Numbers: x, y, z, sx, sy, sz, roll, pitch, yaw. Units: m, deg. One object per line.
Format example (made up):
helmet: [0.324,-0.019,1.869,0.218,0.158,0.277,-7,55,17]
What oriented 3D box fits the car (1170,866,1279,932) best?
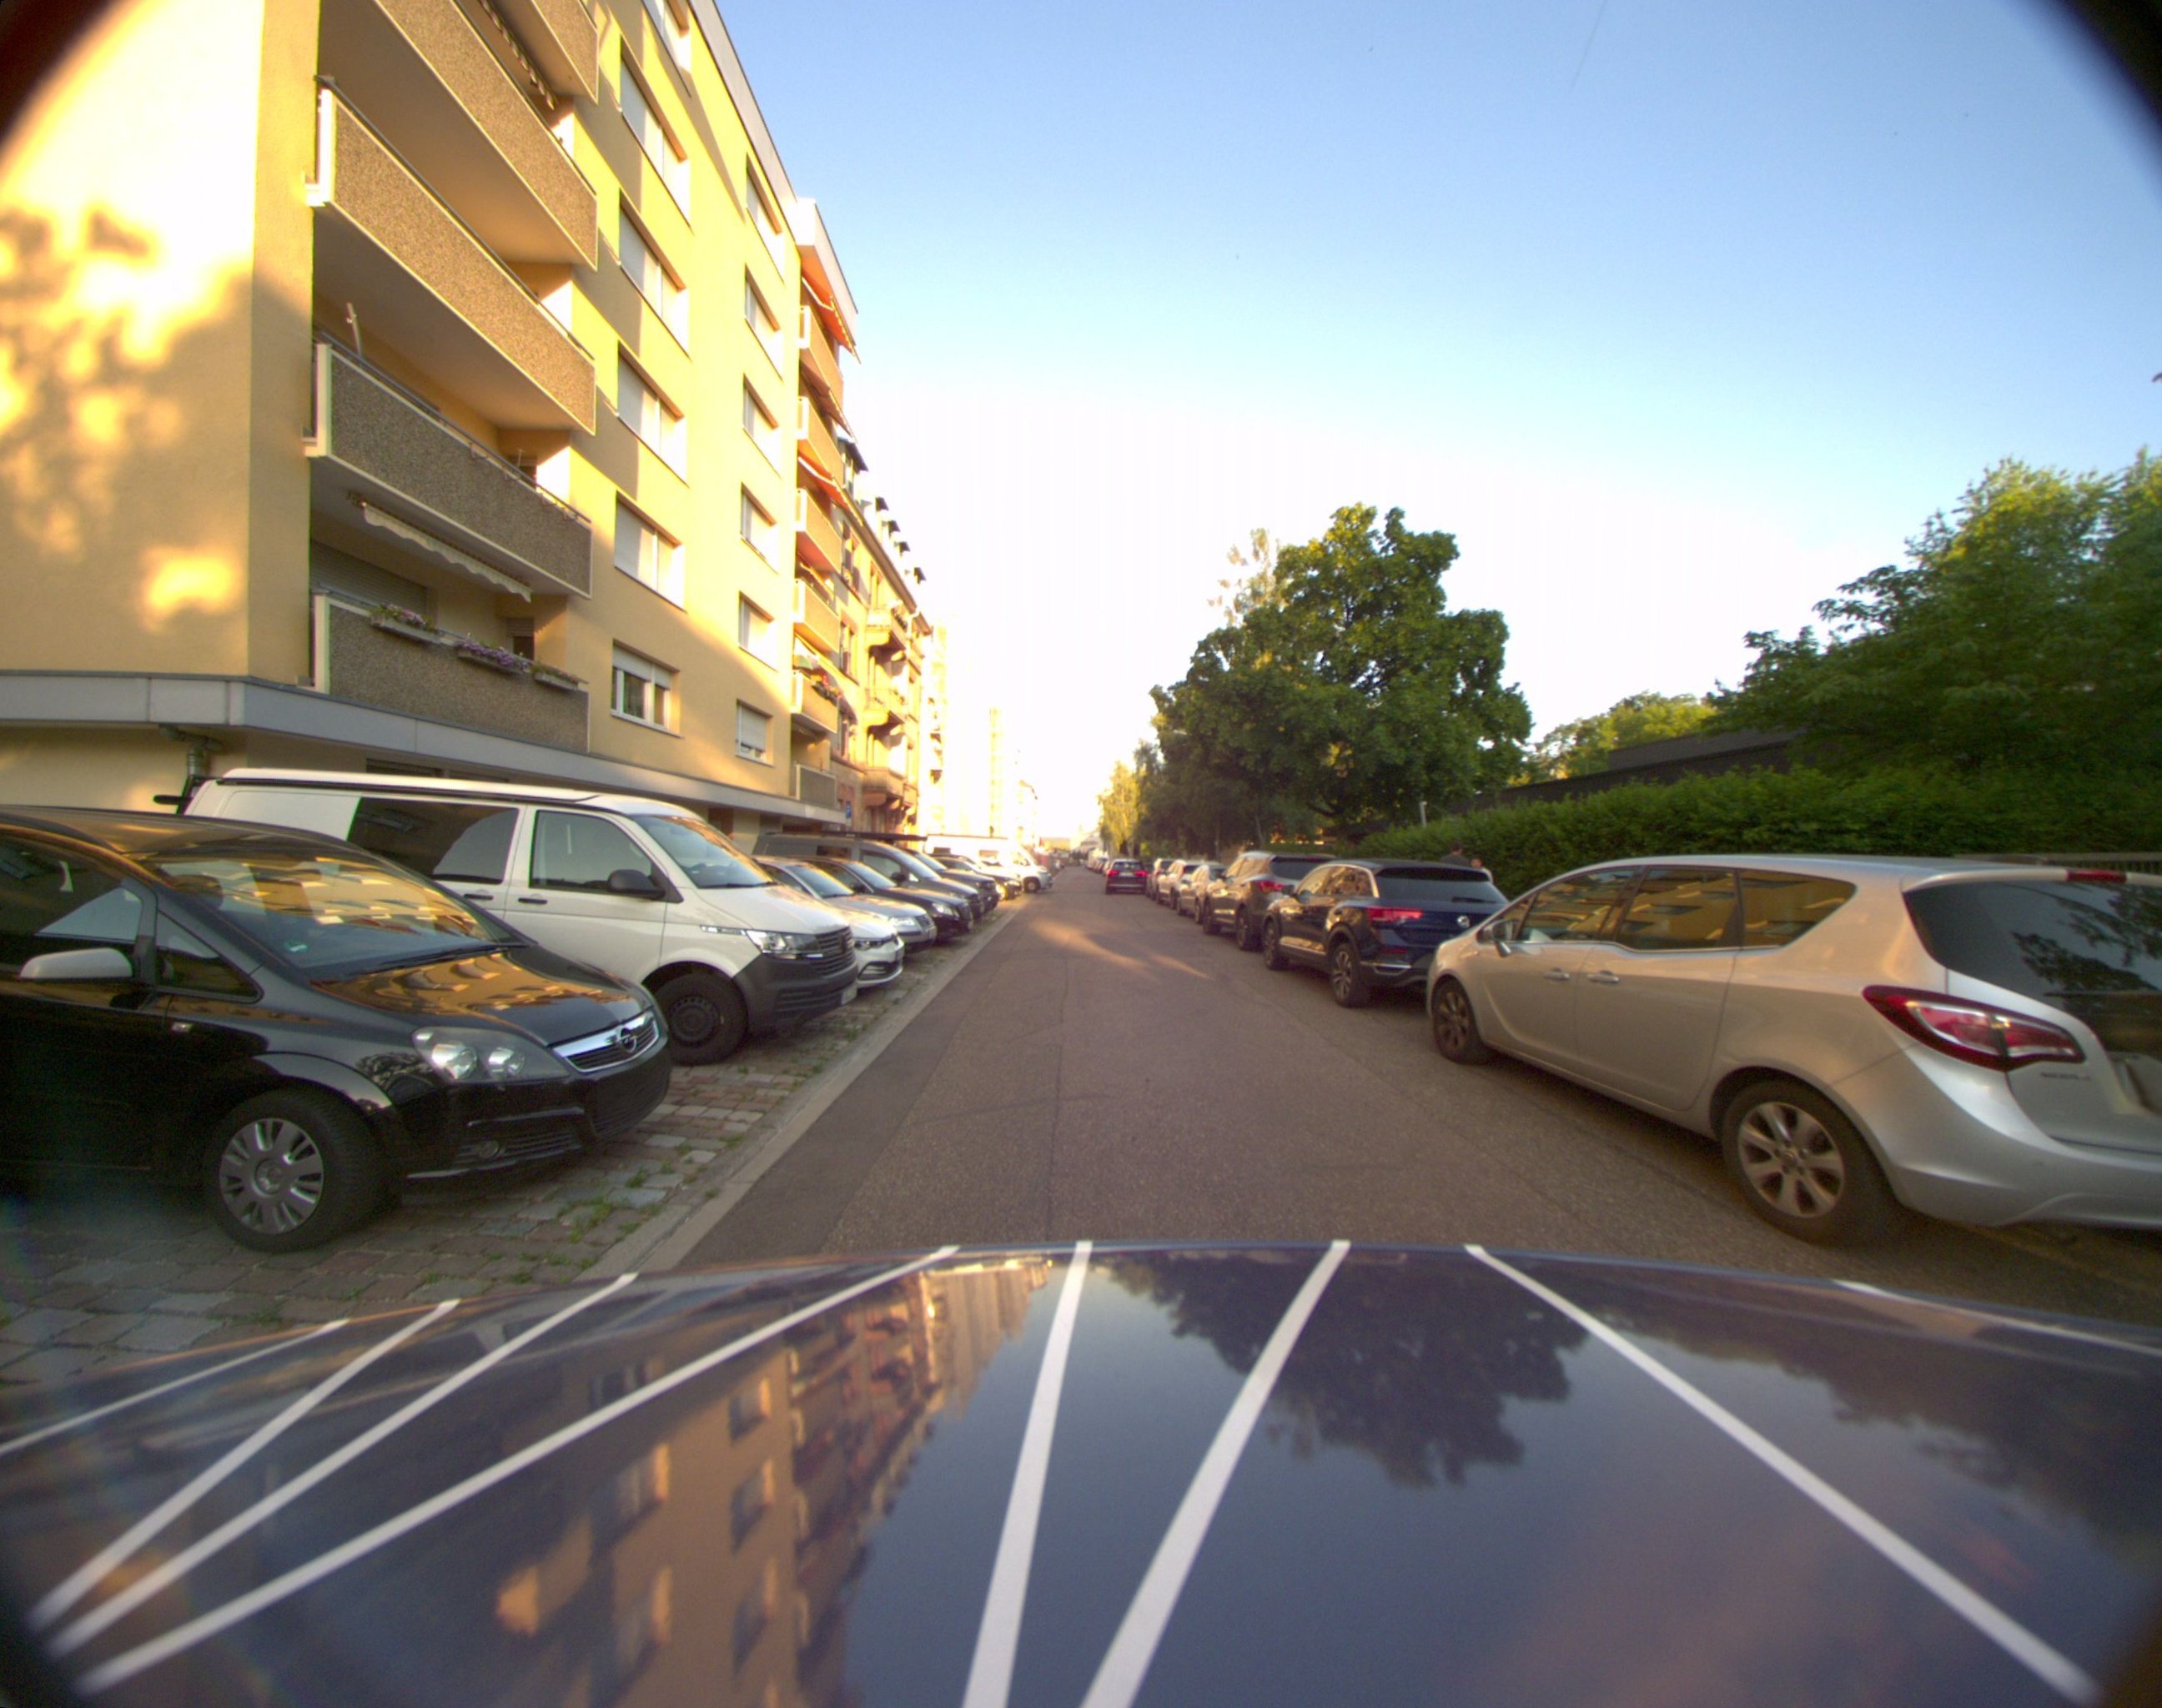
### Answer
car: [3.530,1.065,19.517,1.738,1.418,4.285,2,0,-3]

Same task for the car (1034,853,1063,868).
car: [-4.507,0.921,107.196,3.997,2.002,2.000,0,0,-1]

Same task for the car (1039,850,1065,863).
car: [-4.515,0.332,118.246,3.997,2.002,2.000,0,0,-1]

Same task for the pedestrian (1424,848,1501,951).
pedestrian: [6.681,0.770,13.331,0.901,1.722,0.750,-2,0,-2]

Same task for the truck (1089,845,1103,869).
truck: [2.517,0.508,128.846,2.183,3.860,4.926,0,0,0]

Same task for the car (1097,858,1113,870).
car: [2.959,1.236,95.956,1.738,1.502,4.291,2,0,-1]

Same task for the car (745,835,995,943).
car: [-4.252,0.671,15.837,4.649,1.970,1.845,2,2,-1]

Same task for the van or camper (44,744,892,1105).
van or camper: [-4.437,0.510,6.270,5.147,2.155,2.039,4,1,-2]

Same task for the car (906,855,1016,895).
car: [-5.091,0.886,32.678,4.414,1.610,1.845,0,2,1]

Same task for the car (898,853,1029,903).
car: [-4.181,0.836,27.582,4.414,1.545,1.845,2,2,0]

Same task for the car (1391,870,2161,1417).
car: [3.610,0.937,4.373,1.738,1.558,4.128,2,0,-3]

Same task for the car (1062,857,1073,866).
car: [-2.352,1.287,129.344,1.738,1.502,4.291,2,0,-1]

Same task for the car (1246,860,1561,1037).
car: [3.418,0.887,9.039,1.738,1.558,4.166,2,0,-3]

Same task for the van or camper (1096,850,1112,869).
van or camper: [3.014,0.757,101.699,1.825,2.400,4.291,2,0,-1]

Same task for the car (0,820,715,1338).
car: [-4.316,0.763,3.480,4.338,1.652,1.780,3,2,-3]

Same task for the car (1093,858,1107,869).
car: [2.710,1.310,110.905,1.738,1.502,4.291,2,0,-1]

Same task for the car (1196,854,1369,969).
car: [3.422,0.891,13.826,1.738,1.720,4.322,2,0,-3]

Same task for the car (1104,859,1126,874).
car: [3.170,1.181,72.101,1.738,1.358,4.291,2,0,-1]

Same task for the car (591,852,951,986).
car: [-4.265,0.864,10.992,4.415,1.584,1.845,2,2,-1]

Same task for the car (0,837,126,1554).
car: [-4.640,0.701,0.937,4.416,1.652,1.844,3,2,-3]

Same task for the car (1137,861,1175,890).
car: [3.994,1.129,40.910,1.624,1.417,3.415,2,0,0]

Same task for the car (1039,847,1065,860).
car: [-4.634,-0.119,121.397,3.997,2.002,2.000,0,0,-1]

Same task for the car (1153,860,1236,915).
car: [3.517,0.997,24.410,1.764,1.534,4.279,2,0,-3]

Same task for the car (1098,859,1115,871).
car: [3.045,1.295,90.334,1.738,1.358,4.291,2,0,-1]

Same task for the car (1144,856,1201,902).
car: [3.511,0.942,29.765,1.738,1.621,3.980,2,0,0]

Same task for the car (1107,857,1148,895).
car: [2.157,0.965,34.935,1.737,1.621,4.127,2,0,4]

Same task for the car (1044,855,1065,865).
car: [-5.241,1.161,150.668,3.997,2.002,2.000,0,0,-1]

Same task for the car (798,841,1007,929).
car: [-4.157,0.708,18.205,4.524,1.852,1.845,2,0,-1]

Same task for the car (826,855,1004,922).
car: [-4.456,0.911,20.876,4.414,1.545,1.845,2,2,2]

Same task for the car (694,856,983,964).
car: [-4.058,0.912,13.272,4.415,1.554,1.845,2,2,-1]

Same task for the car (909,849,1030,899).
car: [-4.376,0.765,30.151,4.413,1.739,1.846,2,2,5]

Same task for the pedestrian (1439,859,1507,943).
pedestrian: [7.364,0.859,14.325,0.750,1.499,0.901,-2,0,-2]

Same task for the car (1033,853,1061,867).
car: [-4.887,0.918,109.740,3.997,2.002,2.000,0,0,-1]

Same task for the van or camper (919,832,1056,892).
van or camper: [-4.277,0.373,35.537,6.075,2.489,2.050,2,0,0]

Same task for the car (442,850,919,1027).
car: [-4.264,0.862,8.644,4.415,1.622,1.845,2,2,-1]
